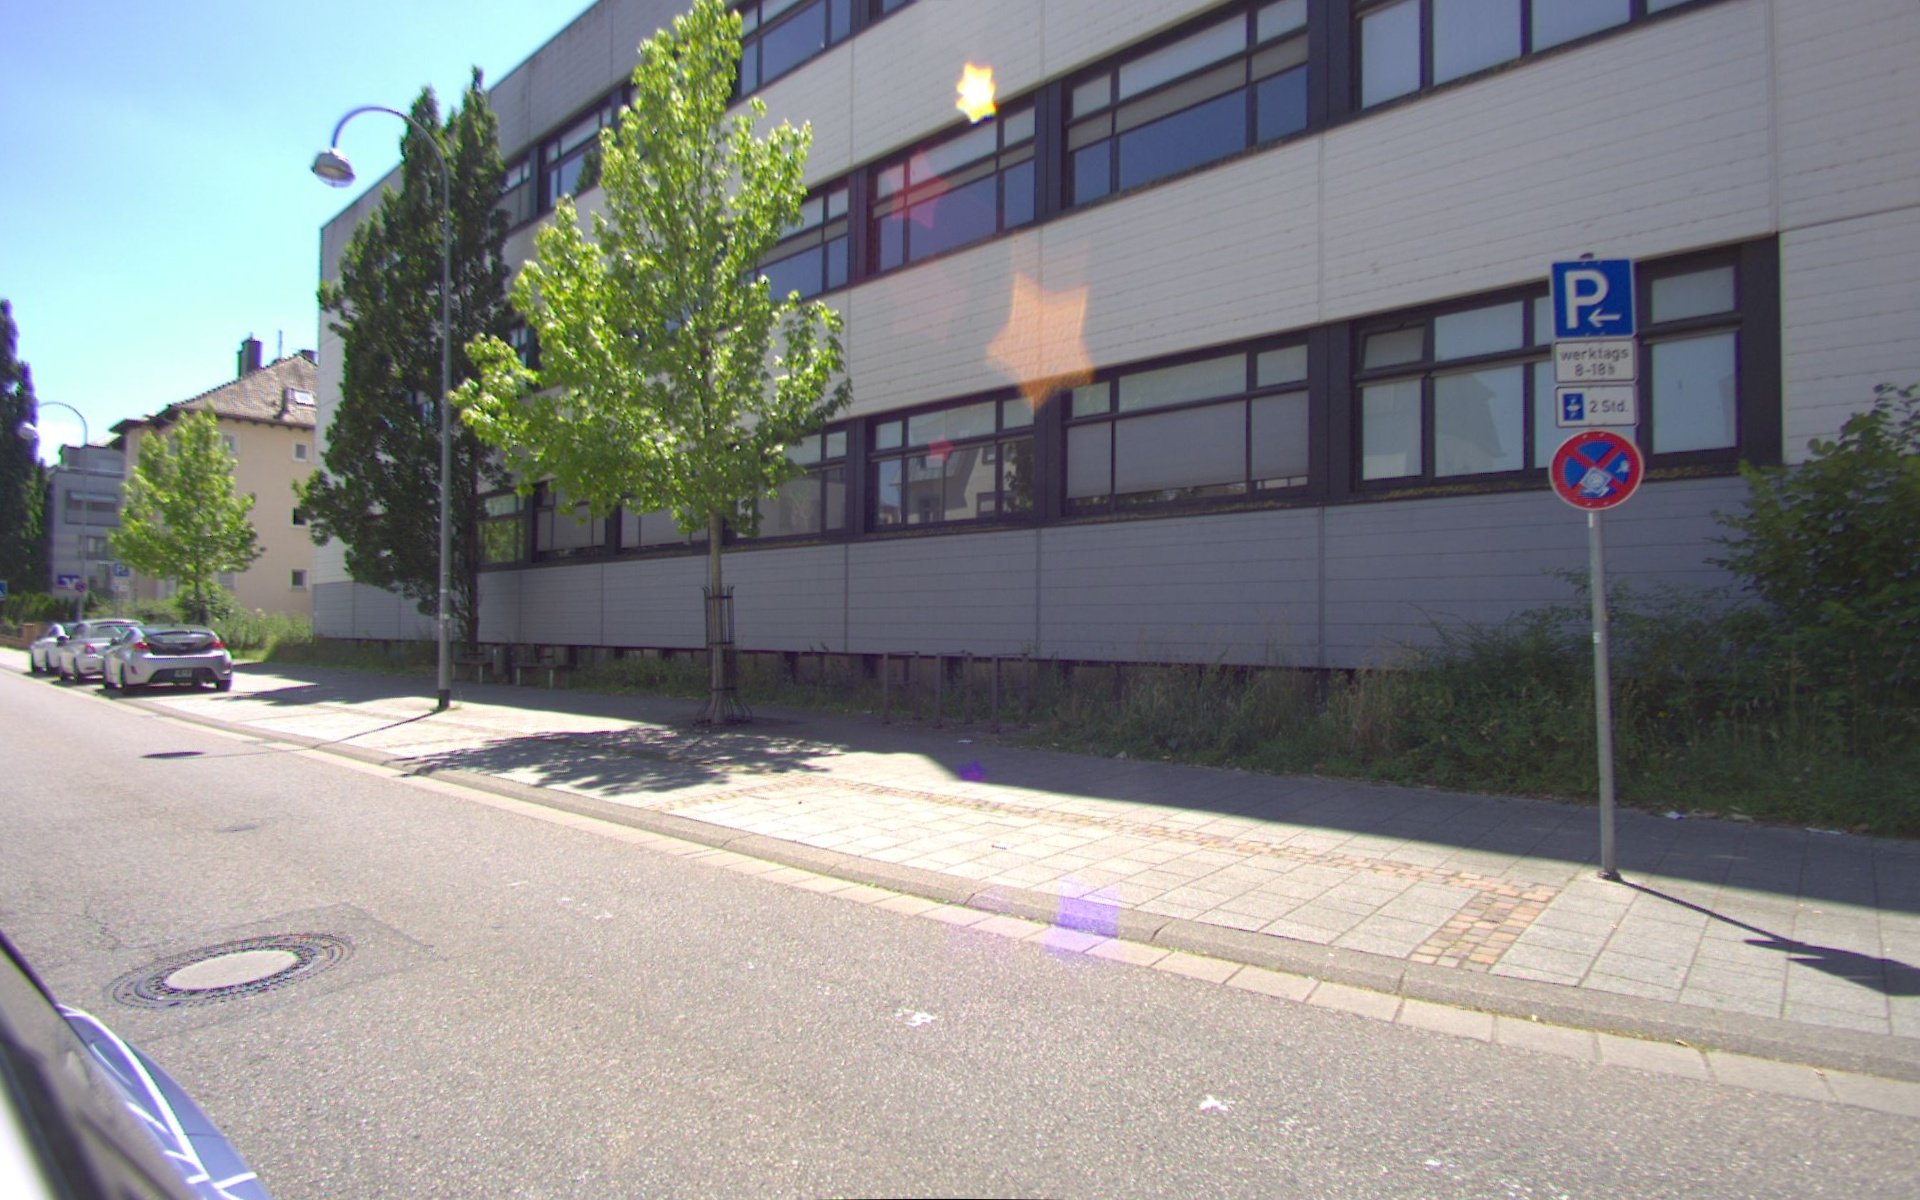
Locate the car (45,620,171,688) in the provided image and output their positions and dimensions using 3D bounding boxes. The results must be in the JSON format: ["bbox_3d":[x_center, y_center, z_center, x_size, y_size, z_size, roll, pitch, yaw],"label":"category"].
[{"bbox_3d":[-21.236,1.272,25.179,4.288,1.523,1.803,-1,0,42],"label":"car"}]

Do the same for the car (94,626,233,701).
[{"bbox_3d":[-16.951,1.271,21.477,3.933,1.420,1.729,-1,-1,43],"label":"car"}]

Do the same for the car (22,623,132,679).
[{"bbox_3d":[-24.952,1.389,28.546,4.576,1.422,1.803,-1,-1,42],"label":"car"}]
